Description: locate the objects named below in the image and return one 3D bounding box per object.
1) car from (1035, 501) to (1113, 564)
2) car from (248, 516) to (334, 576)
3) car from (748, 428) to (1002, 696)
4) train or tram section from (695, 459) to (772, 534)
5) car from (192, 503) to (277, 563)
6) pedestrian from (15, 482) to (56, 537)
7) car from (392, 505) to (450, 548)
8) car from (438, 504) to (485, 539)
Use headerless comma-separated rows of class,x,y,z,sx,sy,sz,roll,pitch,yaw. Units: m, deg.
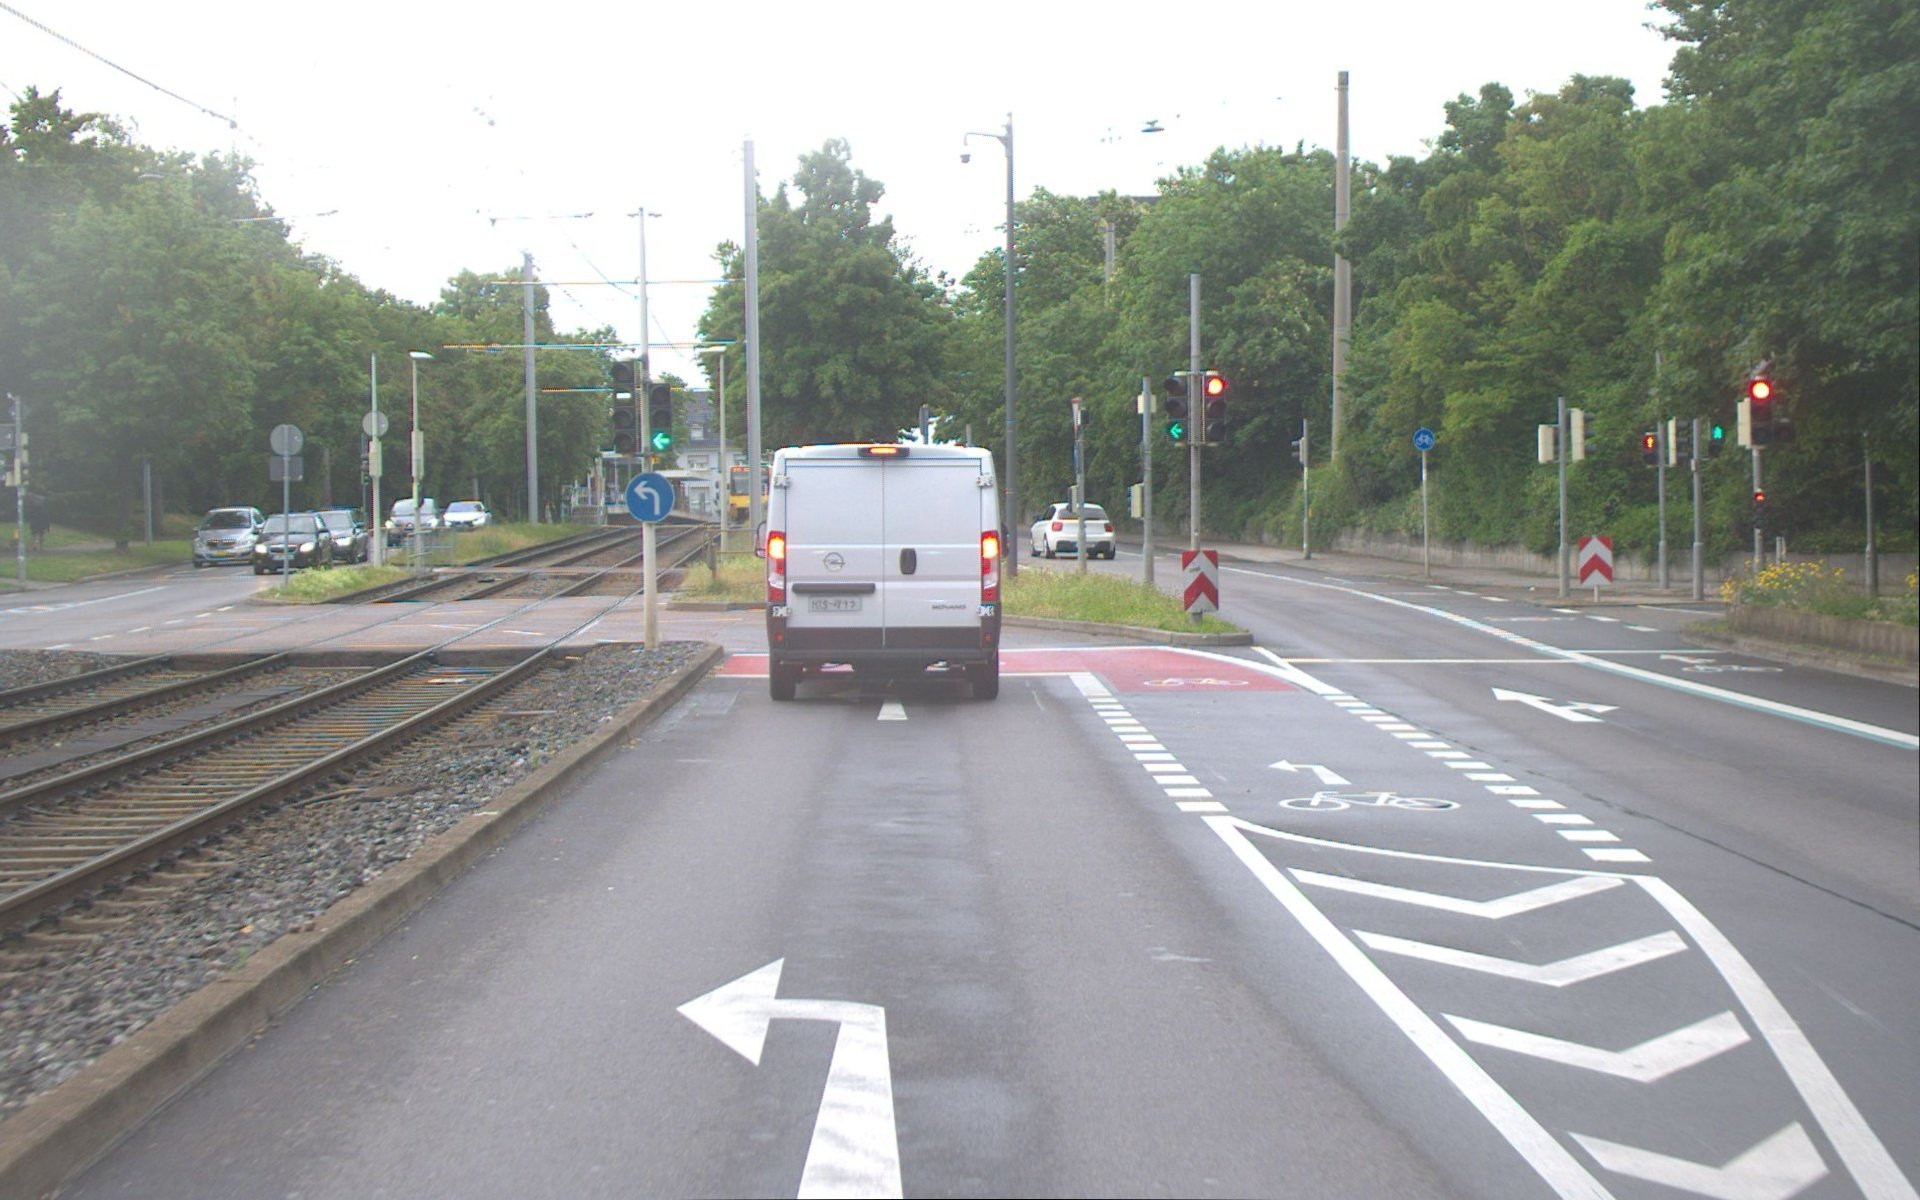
car,2.907,-1.755,88.071,1.703,1.516,3.792,1,2,-2
car,-16.752,-1.369,86.200,1.601,1.397,3.792,1,2,-3
car,-0.711,-0.356,31.766,2.146,2.275,5.063,0,1,0
train or tram section,-13.626,-6.175,208.220,4.060,3.881,15.040,1,-1,-2
car,-20.497,-1.916,97.206,1.719,1.548,3.864,-3,2,-3
pedestrian,-27.104,-2.652,100.827,1.013,1.595,1.040,-1,2,-8
car,-18.700,-2.569,119.439,1.601,1.397,3.792,1,2,-3
car,-20.808,-3.284,143.594,1.601,1.397,3.792,1,2,-3
